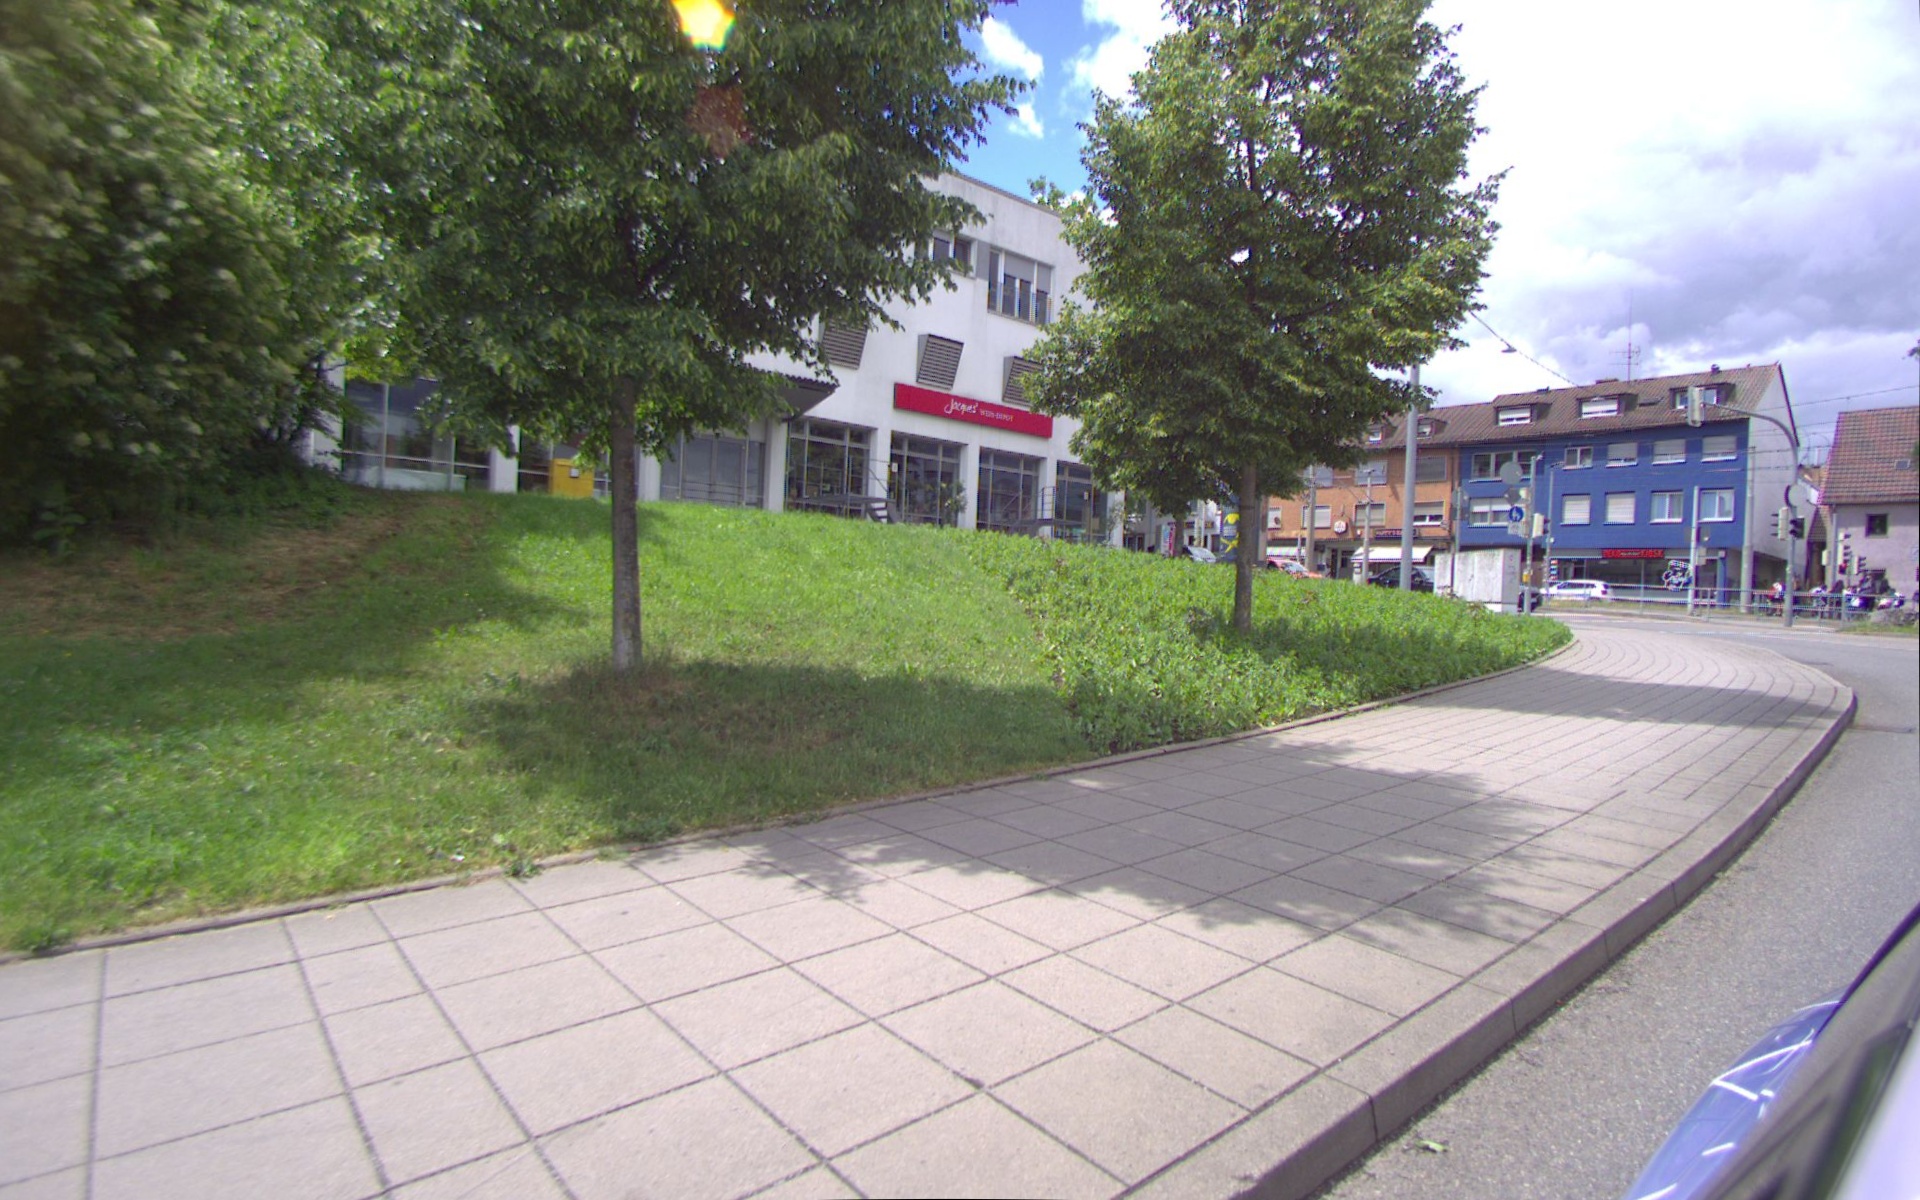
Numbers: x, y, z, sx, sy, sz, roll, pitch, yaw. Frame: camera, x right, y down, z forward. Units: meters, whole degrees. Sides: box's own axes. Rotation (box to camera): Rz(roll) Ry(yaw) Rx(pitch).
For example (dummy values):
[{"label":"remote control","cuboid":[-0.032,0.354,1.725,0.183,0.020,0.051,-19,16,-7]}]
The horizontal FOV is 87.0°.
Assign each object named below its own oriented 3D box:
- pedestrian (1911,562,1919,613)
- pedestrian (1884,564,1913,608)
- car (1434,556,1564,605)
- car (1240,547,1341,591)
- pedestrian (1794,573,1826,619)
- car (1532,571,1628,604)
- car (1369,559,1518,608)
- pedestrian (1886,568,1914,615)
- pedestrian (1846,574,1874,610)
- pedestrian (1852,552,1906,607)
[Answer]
[{"label":"pedestrian","cuboid":[33.644,-0.419,35.057,0.683,1.771,0.749,2,1,14]},{"label":"pedestrian","cuboid":[34.943,-0.532,37.690,0.671,1.585,0.580,2,2,35]},{"label":"car","cuboid":[18.596,-0.716,35.148,1.703,1.455,4.105,0,4,-12]},{"label":"car","cuboid":[13.558,-1.256,41.730,1.958,1.663,4.009,2,1,-17]},{"label":"pedestrian","cuboid":[34.020,-0.171,40.528,0.743,1.771,0.583,2,1,20]},{"label":"car","cuboid":[33.141,-0.696,54.163,1.682,1.551,3.997,3,1,-40]},{"label":"car","cuboid":[15.834,-0.580,33.418,2.009,1.483,4.335,1,2,-17]},{"label":"pedestrian","cuboid":[36.132,-0.336,38.901,0.672,1.771,0.579,2,2,39]},{"label":"pedestrian","cuboid":[35.800,-0.321,40.251,0.623,1.392,0.675,1,2,-39]},{"label":"pedestrian","cuboid":[32.318,-0.731,35.590,0.951,1.863,0.825,4,2,6]}]
